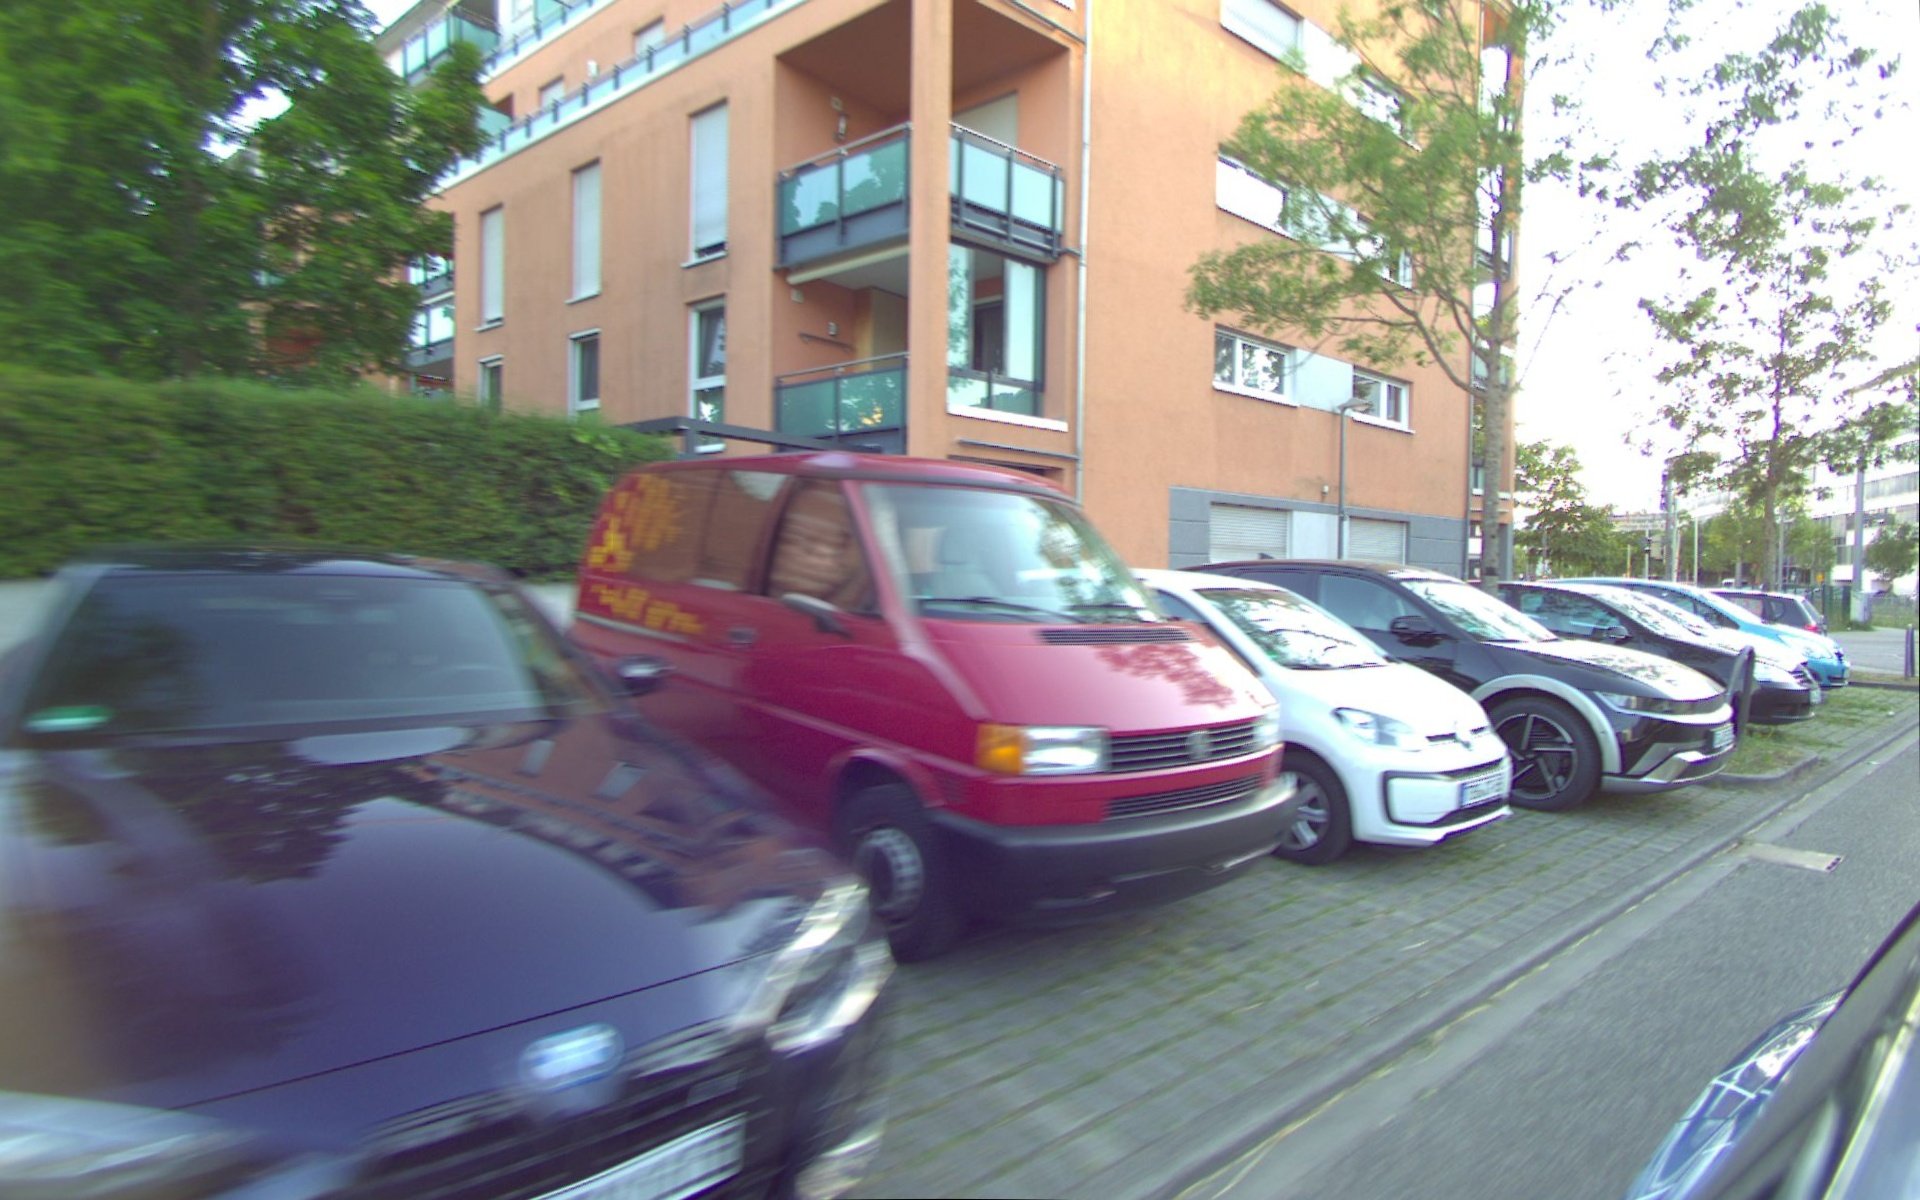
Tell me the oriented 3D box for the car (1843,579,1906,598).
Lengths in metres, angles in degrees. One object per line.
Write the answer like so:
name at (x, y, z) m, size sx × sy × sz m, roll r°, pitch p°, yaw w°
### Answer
car at (71.072, -0.889, 78.639) m, size 3.916 × 1.393 × 1.722 m, roll 0°, pitch 1°, yaw -14°

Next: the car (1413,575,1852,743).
car at (7.238, 0.494, 11.210) m, size 1.512 × 1.514 × 3.781 m, roll -1°, pitch 2°, yaw -40°

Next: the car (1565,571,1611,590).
car at (68.474, -2.144, 110.461) m, size 3.954 × 2.039 × 1.985 m, roll 1°, pitch 1°, yaw 22°

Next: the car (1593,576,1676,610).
car at (41.853, -0.452, 62.898) m, size 3.959 × 2.039 × 1.983 m, roll 1°, pitch 1°, yaw 26°

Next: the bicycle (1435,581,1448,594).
bicycle at (36.007, -0.943, 75.714) m, size 0.806 × 0.962 × 2.198 m, roll 1°, pitch 2°, yaw 23°

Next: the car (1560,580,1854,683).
car at (12.364, 0.428, 16.912) m, size 1.587 × 1.491 × 3.752 m, roll -1°, pitch 2°, yaw -44°

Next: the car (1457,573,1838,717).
car at (8.910, 0.459, 13.391) m, size 1.591 × 1.588 × 3.885 m, roll 0°, pitch 2°, yaw -40°

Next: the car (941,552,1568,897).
car at (1.610, 0.499, 6.467) m, size 1.587 × 1.482 × 3.534 m, roll -1°, pitch 4°, yaw -40°

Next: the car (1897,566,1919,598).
car at (87.979, -1.625, 92.082) m, size 1.985 × 2.911 × 6.203 m, roll 2°, pitch 2°, yaw 24°

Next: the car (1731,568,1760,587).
car at (108.181, -3.132, 139.423) m, size 1.977 × 2.617 × 3.971 m, roll 1°, pitch 1°, yaw 22°

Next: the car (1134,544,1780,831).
car at (3.606, 0.410, 8.050) m, size 1.761 × 1.588 × 4.226 m, roll -1°, pitch 4°, yaw -40°

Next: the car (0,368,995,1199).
car at (-2.060, 0.452, 3.342) m, size 1.778 × 1.576 × 4.682 m, roll 0°, pitch 2°, yaw -38°

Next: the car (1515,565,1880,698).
car at (10.759, 0.344, 15.026) m, size 1.643 × 1.588 × 4.060 m, roll 0°, pitch 3°, yaw -40°

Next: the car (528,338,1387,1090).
car at (-0.574, 0.244, 5.437) m, size 1.980 × 2.143 × 4.932 m, roll 0°, pitch 2°, yaw -39°
